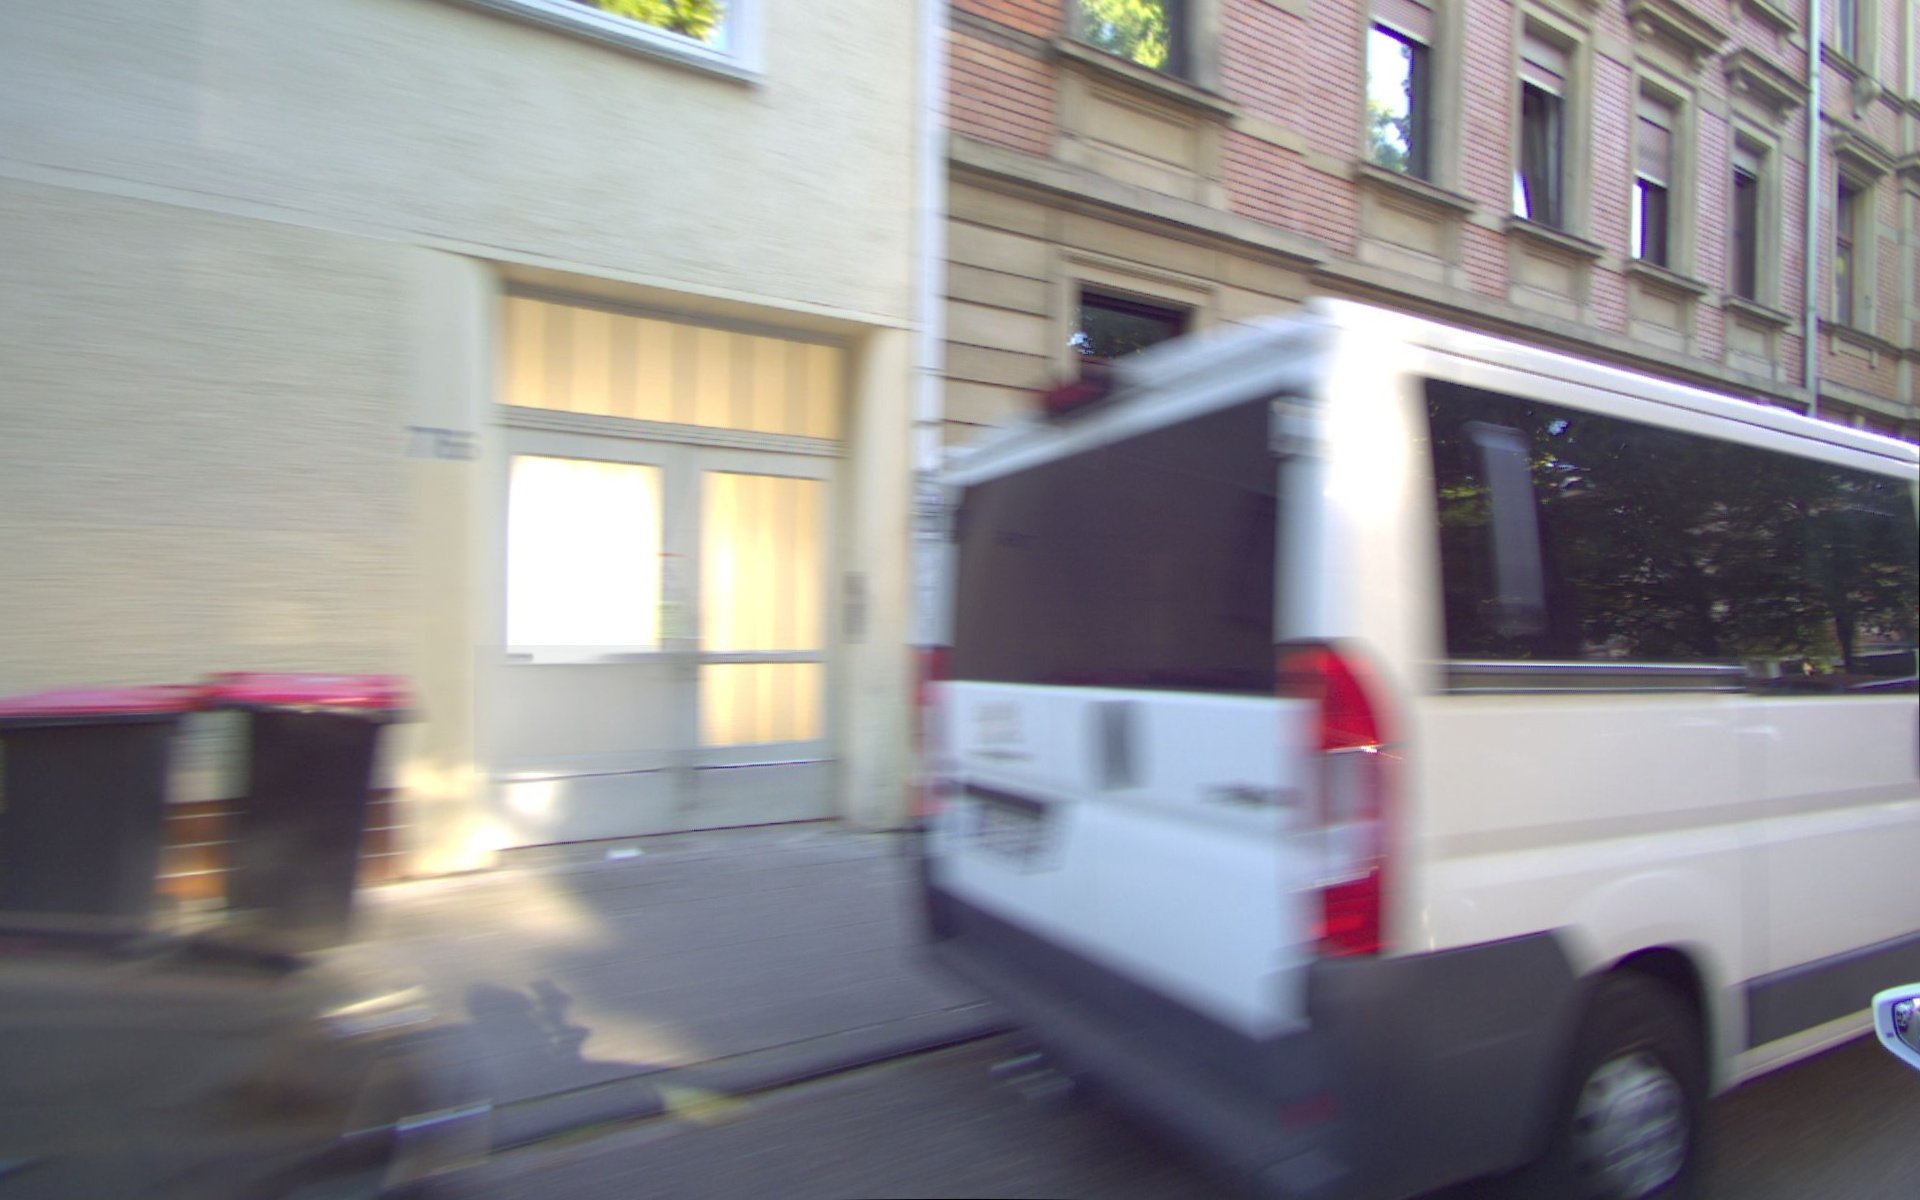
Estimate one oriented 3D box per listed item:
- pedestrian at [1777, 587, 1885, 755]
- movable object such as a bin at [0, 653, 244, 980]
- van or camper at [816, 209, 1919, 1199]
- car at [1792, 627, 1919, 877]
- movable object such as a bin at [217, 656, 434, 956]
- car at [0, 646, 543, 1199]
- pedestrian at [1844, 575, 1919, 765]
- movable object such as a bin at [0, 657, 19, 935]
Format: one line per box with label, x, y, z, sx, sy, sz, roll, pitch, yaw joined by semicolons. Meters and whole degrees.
pedestrian;9.736;0.769;11.236;0.641;1.795;0.698;2;0;-30
movable object such as a bin;-3.334;0.786;3.961;0.657;1.102;0.798;2;-1;-26
van or camper;2.225;0.517;3.830;5.090;2.176;2.168;1;-2;-29
car;7.801;0.966;7.033;4.145;1.534;1.758;1;-2;-31
movable object such as a bin;-2.677;0.816;4.328;0.657;1.102;0.798;2;-1;-26
car;-2.765;0.767;0.917;4.262;1.420;1.724;1;-2;-29
pedestrian;9.894;0.718;10.575;0.894;1.907;0.576;2;0;-30
movable object such as a bin;-3.946;0.769;3.537;0.666;1.102;0.833;2;-1;-26
